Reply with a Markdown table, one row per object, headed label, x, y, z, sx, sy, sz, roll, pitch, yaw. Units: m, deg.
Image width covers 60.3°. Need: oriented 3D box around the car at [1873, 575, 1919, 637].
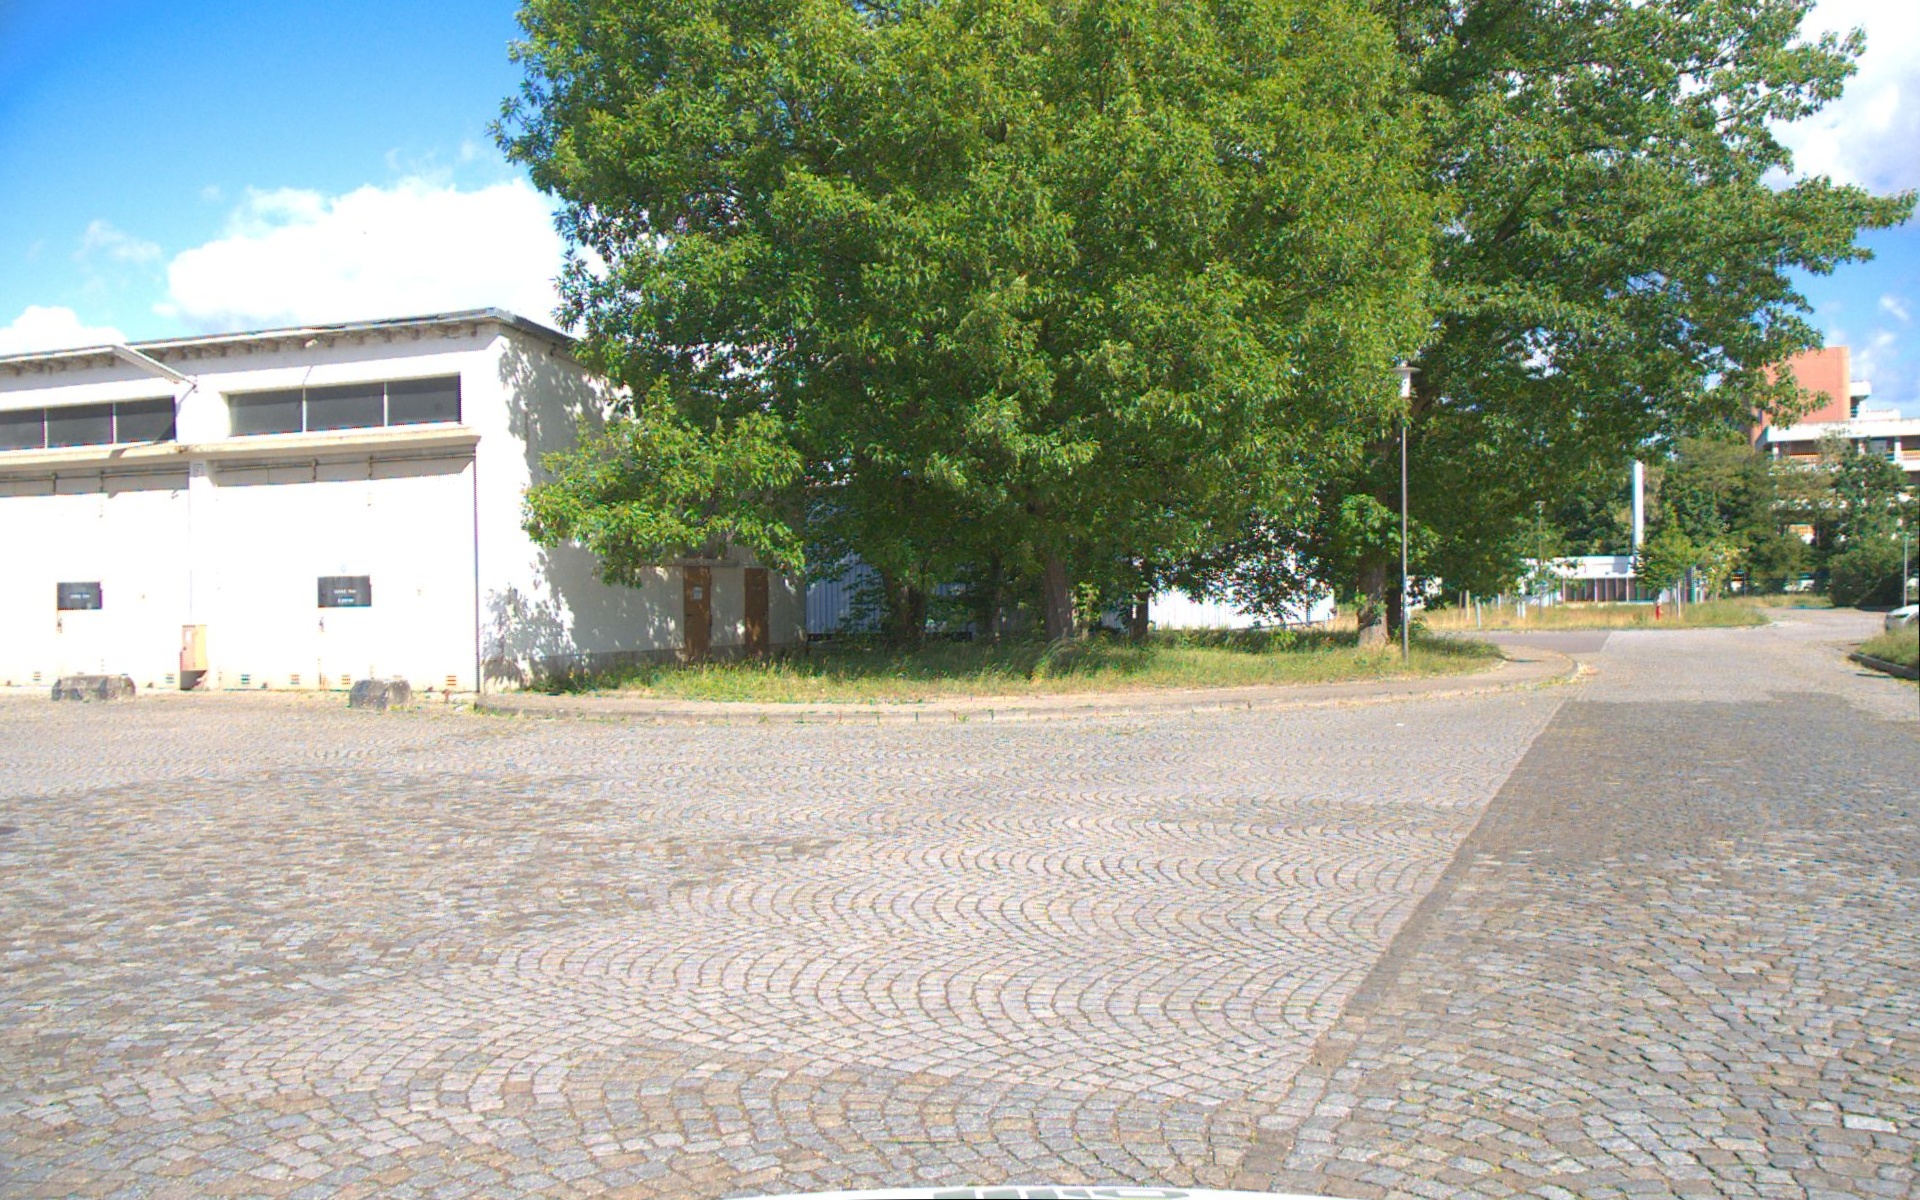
| label | x | y | z | sx | sy | sz | roll | pitch | yaw |
| --- | --- | --- | --- | --- | --- | --- | --- | --- | --- |
| car | 27.595 | 0.132 | 45.161 | 4.411 | 1.676 | 2.000 | -1 | 0 | 21 |
